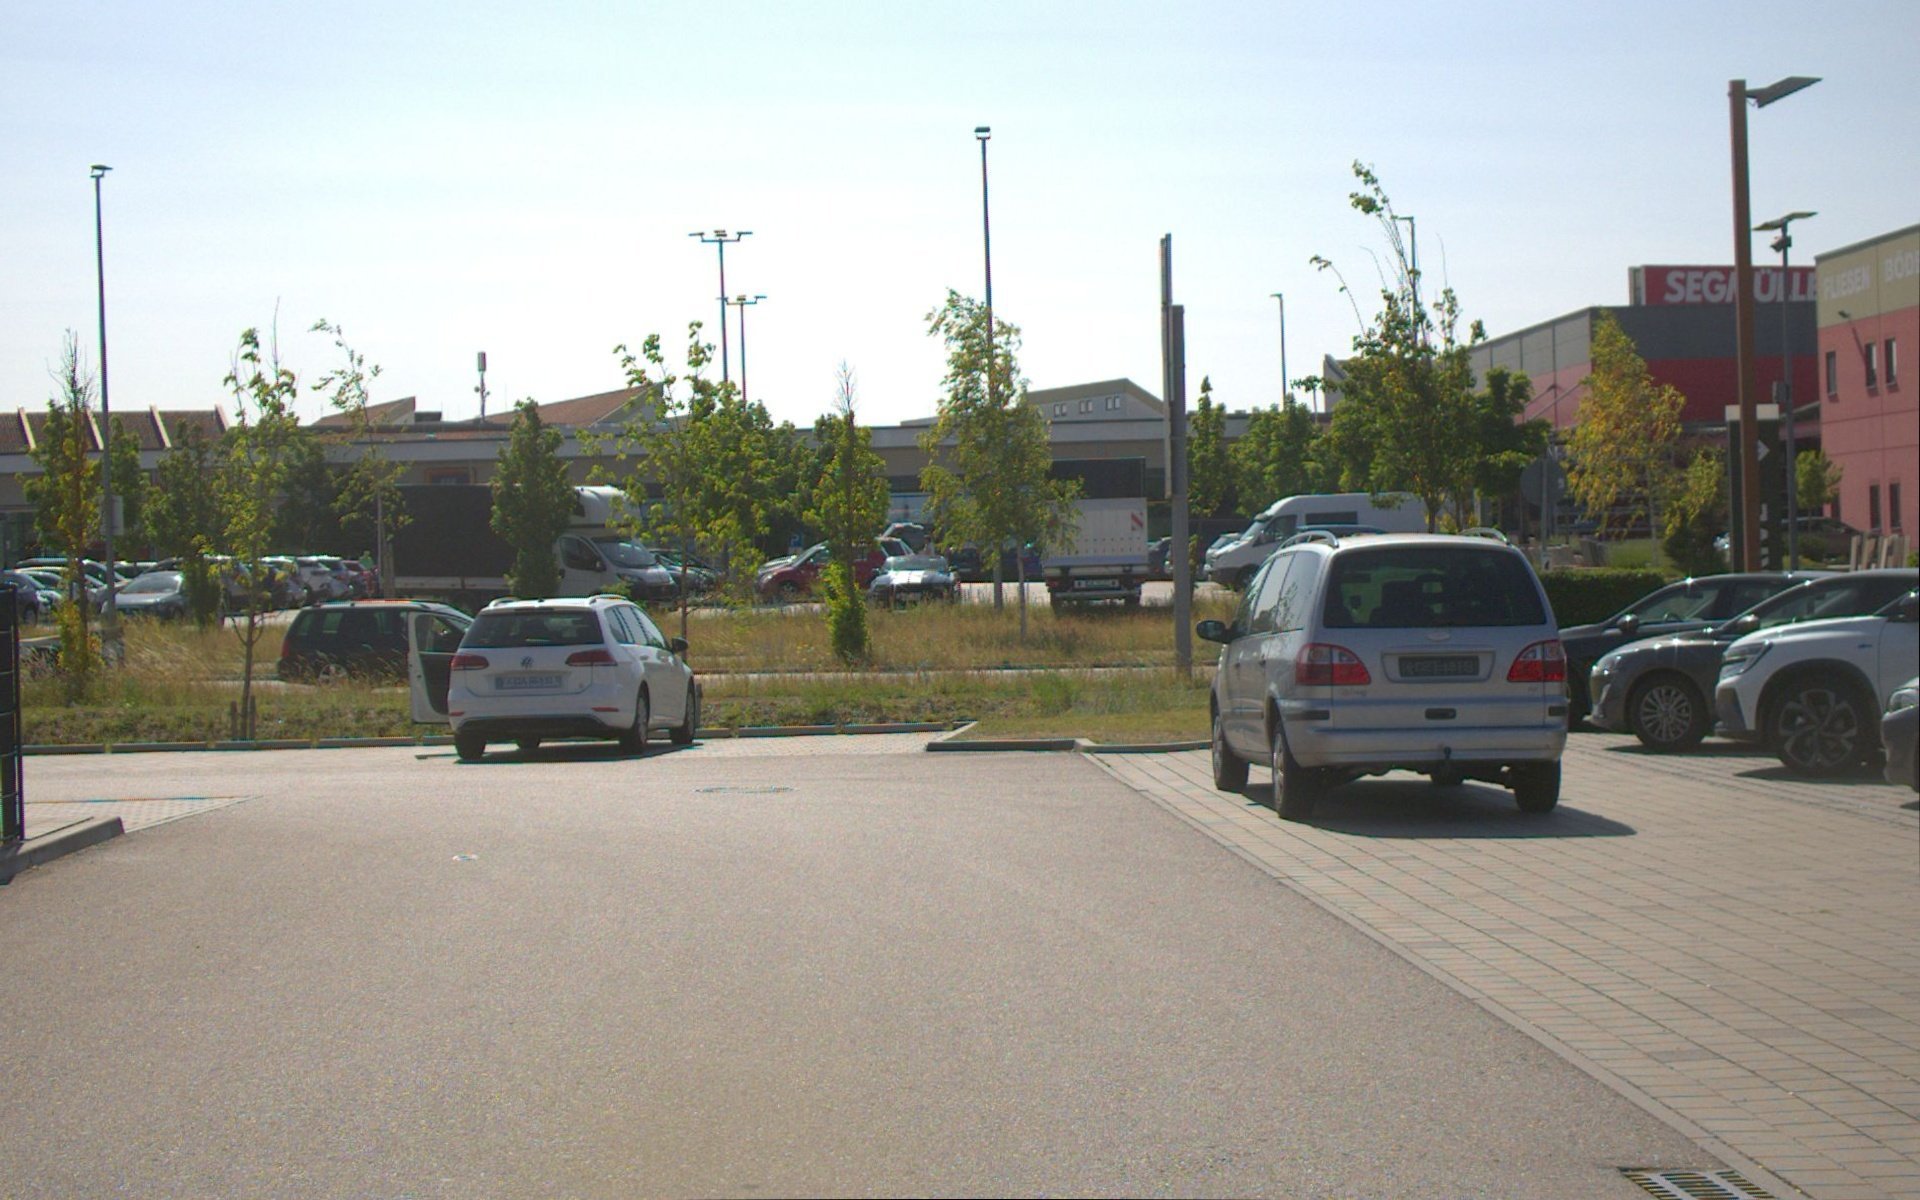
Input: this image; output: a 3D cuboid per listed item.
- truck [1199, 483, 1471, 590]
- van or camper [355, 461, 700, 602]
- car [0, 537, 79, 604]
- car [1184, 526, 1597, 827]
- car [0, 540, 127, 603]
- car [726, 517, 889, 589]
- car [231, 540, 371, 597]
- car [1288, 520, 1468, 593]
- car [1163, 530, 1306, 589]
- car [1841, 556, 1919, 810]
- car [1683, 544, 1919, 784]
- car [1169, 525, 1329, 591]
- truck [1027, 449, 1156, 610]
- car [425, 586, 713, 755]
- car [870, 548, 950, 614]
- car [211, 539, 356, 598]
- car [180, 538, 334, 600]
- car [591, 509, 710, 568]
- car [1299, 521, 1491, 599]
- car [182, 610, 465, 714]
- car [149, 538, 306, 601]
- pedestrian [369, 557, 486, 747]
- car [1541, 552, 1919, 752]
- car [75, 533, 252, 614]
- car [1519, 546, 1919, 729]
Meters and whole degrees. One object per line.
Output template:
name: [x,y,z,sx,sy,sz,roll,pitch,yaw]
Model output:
truck: [10.090,-1.707,92.693,7.034,2.805,1.956,-1,1,-3]
van or camper: [-9.994,-1.529,79.042,8.043,3.091,2.415,0,1,31]
car: [-27.146,-0.823,96.440,4.389,1.849,1.956,-1,1,-3]
car: [2.705,0.430,22.680,1.827,1.742,4.684,-1,1,-4]
car: [-27.728,-0.870,104.474,4.389,1.849,1.956,-1,1,-3]
car: [-4.060,-1.260,91.271,4.253,1.849,1.870,-1,1,-3]
car: [-22.074,-1.066,115.260,4.389,1.849,1.956,-1,1,-3]
car: [10.929,-1.131,90.073,4.389,1.849,1.956,-1,1,-3]
car: [8.942,-1.329,112.238,4.389,1.849,1.956,-1,1,-3]
car: [7.923,0.486,20.380,4.840,1.521,1.971,0,1,35]
car: [7.439,0.421,24.210,4.200,1.649,1.972,0,1,29]
car: [8.352,-1.230,99.574,4.389,1.849,1.956,-1,1,-3]
truck: [2.997,-1.577,77.968,2.759,3.469,6.832,-1,1,2]
car: [-3.618,0.639,32.613,1.827,1.464,4.481,-1,-1,5]
car: [-1.118,-0.440,78.344,1.650,1.454,3.966,-1,1,2]
car: [-22.038,-1.026,112.155,4.389,1.849,1.956,-1,1,-3]
car: [-21.699,-0.952,106.197,4.389,1.849,1.956,-1,1,-3]
car: [-10.851,-2.157,120.858,3.987,2.007,2.000,-1,1,0]
car: [10.707,-0.989,84.811,4.389,1.849,1.956,-1,1,-3]
car: [-9.693,0.938,52.527,3.987,1.490,1.676,-1,1,1]
car: [-22.096,-0.918,103.823,4.389,1.849,1.956,-1,1,-3]
pedestrian: [-5.149,0.502,33.292,0.991,1.803,0.726,-1,-1,0]
car: [7.029,0.384,27.670,4.201,1.521,1.972,0,1,34]
car: [-18.702,-0.645,80.927,1.951,1.849,4.400,0,1,20]
car: [7.402,0.298,30.764,4.329,1.521,1.971,0,2,41]
